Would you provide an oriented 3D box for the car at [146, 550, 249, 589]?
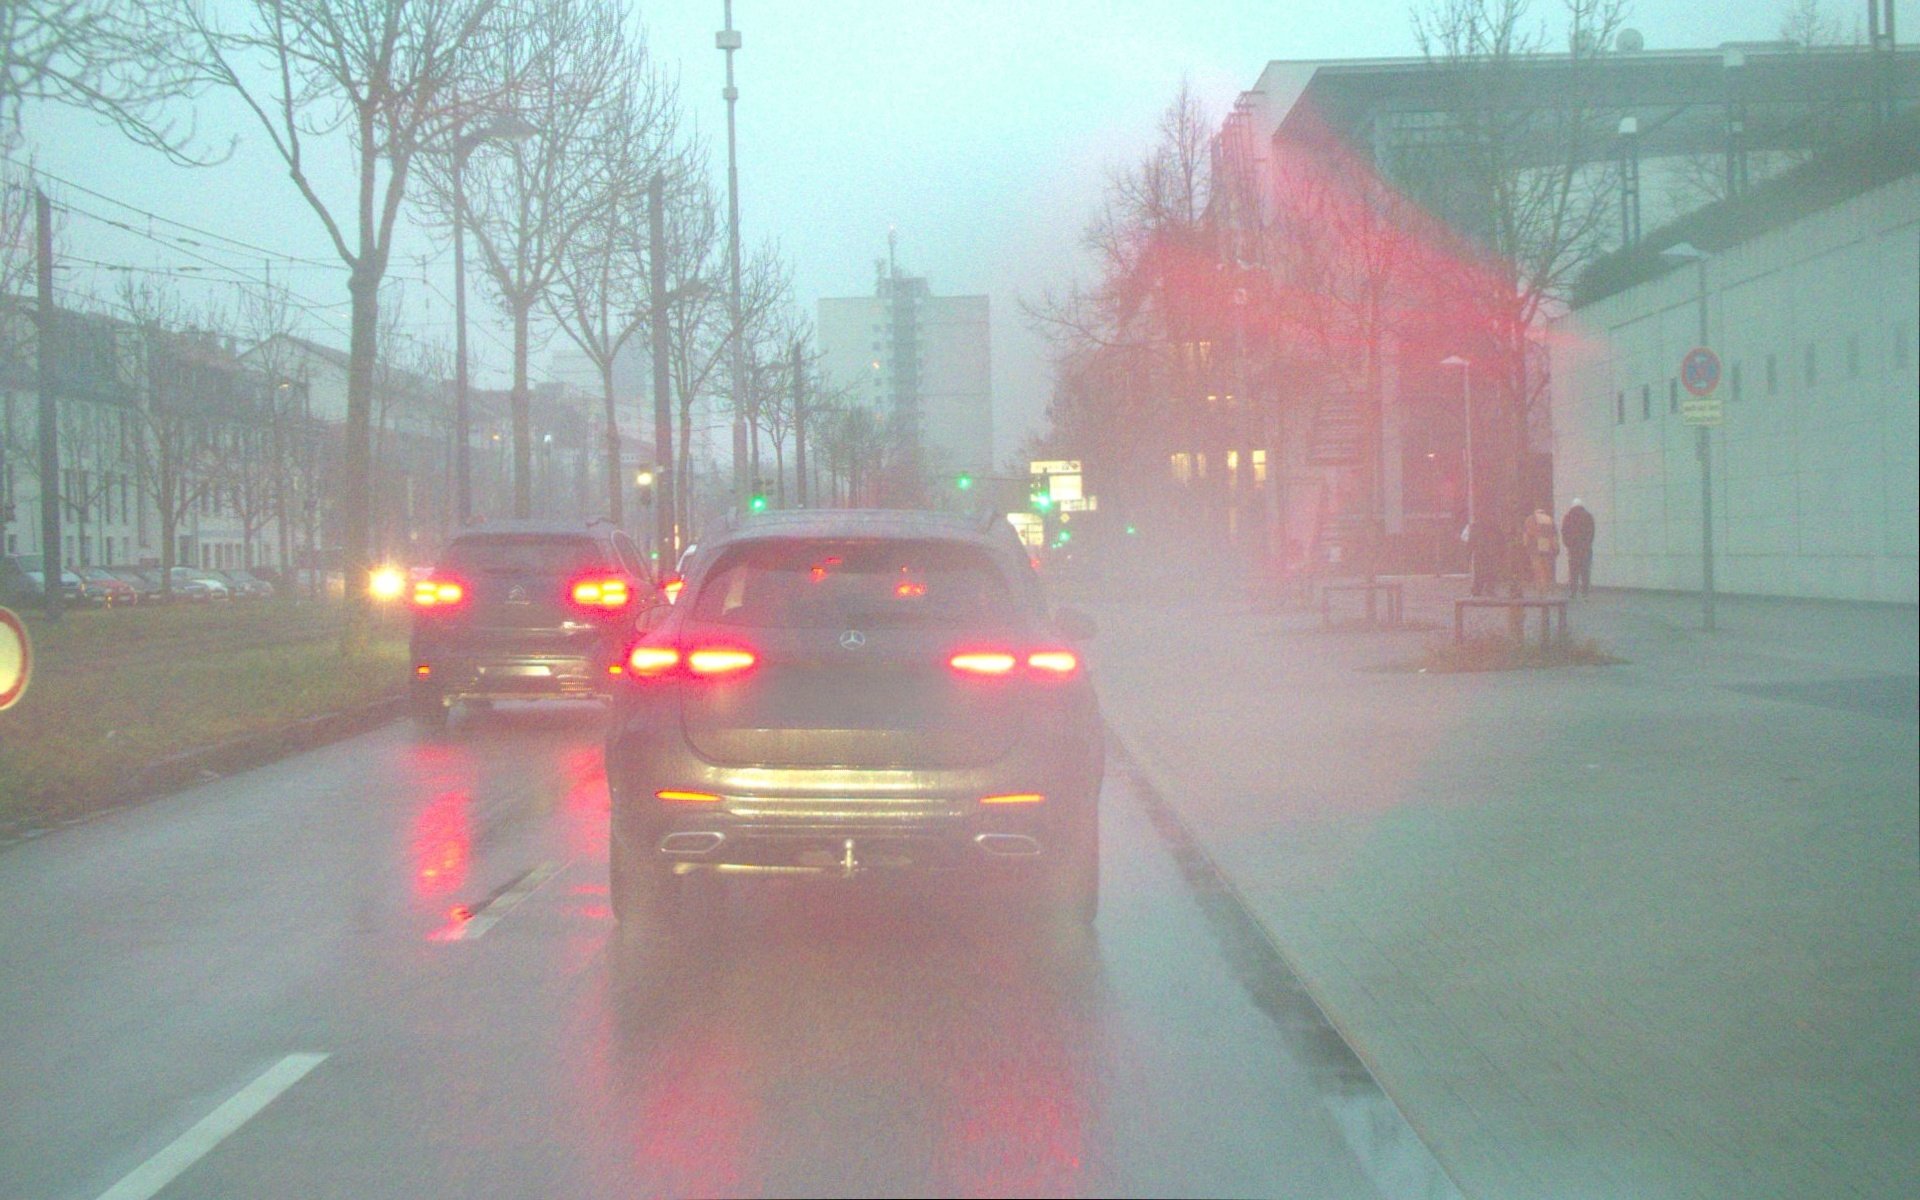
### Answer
[{"bbox_3d":[-28.370,-1.127,127.926,3.552,1.349,1.778,-1,1,34],"label":"car"}]

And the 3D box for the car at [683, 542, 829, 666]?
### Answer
[{"bbox_3d":[-2.701,0.026,46.202,1.672,1.594,4.053,0,1,1],"label":"car"}]

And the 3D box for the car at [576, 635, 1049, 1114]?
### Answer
[{"bbox_3d":[-0.496,0.991,14.187,1.672,1.594,4.053,0,1,1],"label":"car"}]

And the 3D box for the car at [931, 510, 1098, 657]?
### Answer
[{"bbox_3d":[0.685,-0.226,43.530,1.993,1.738,4.000,-1,1,1],"label":"car"}]

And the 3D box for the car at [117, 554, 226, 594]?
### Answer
[{"bbox_3d":[-27.876,-0.912,121.588,3.552,1.349,1.778,-1,1,34],"label":"car"}]

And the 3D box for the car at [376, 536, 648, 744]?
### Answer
[{"bbox_3d":[-3.630,0.279,28.456,1.672,1.594,4.053,0,1,1],"label":"car"}]
